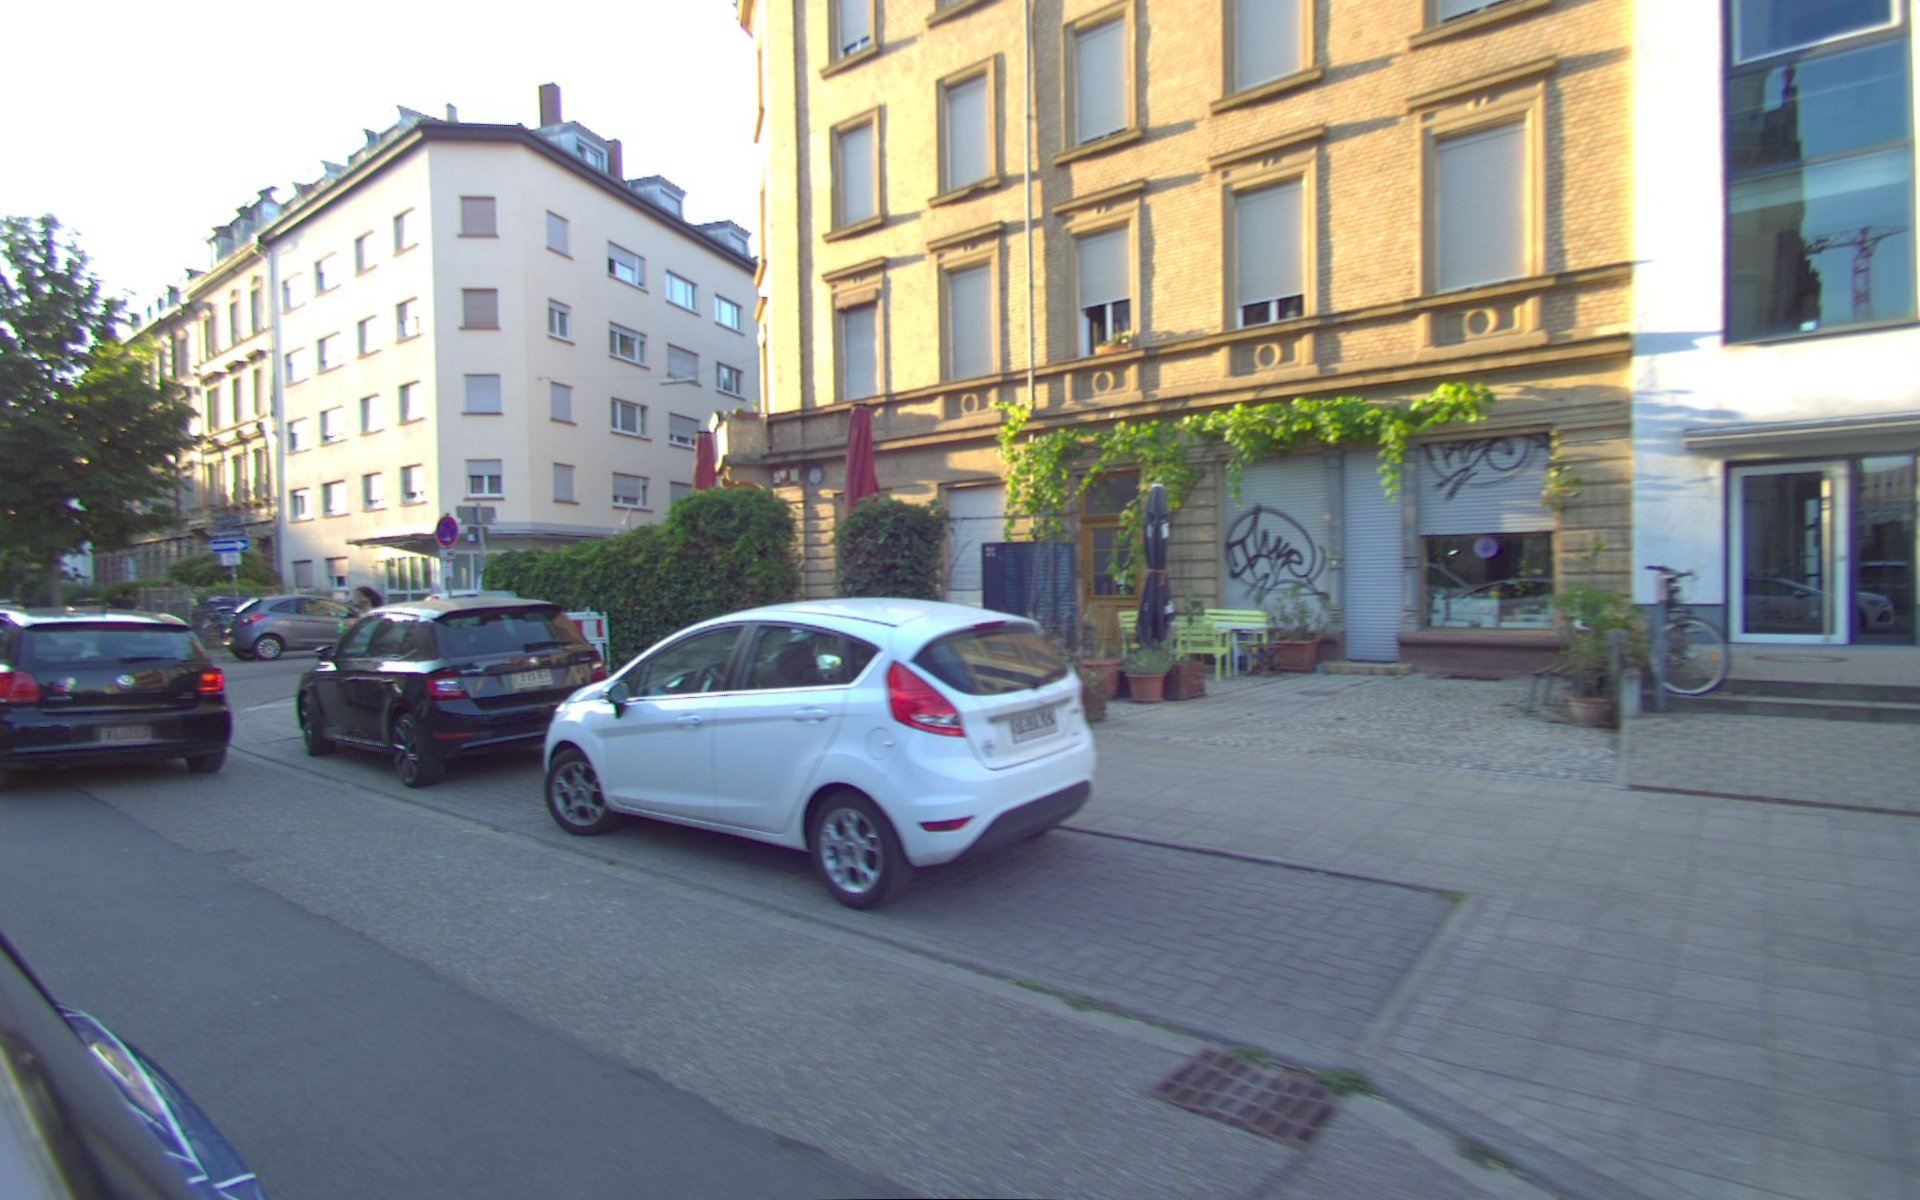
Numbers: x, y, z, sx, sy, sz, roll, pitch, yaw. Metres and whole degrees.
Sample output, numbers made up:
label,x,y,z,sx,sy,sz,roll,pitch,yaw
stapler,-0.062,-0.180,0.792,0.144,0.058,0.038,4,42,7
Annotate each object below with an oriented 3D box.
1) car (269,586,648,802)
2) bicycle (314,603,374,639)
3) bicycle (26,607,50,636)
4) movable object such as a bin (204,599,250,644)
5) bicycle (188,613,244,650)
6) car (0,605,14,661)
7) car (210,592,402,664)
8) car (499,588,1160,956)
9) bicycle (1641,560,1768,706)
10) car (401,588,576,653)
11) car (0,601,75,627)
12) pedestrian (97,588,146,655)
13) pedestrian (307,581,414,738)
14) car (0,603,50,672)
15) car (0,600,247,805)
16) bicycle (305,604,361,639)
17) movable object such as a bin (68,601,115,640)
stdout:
label,x,y,z,sx,sy,sz,roll,pitch,yaw
car,-4.718,0.686,9.308,3.841,1.545,1.687,0,2,40
bicycle,-20.817,0.687,34.221,0.499,1.100,1.618,-1,2,33
bicycle,-37.227,0.846,40.850,1.632,1.117,0.451,0,2,40
movable object such as a bin,-23.631,0.680,32.621,1.398,1.362,0.857,0,2,41
bicycle,-22.105,0.911,30.057,1.927,1.033,0.681,-1,2,34
car,-26.401,0.870,26.700,4.141,1.431,1.724,0,2,42
car,-15.706,0.632,24.427,1.842,1.519,3.473,-2,1,38
car,-0.977,0.742,6.211,4.010,1.541,1.636,0,2,37
bicycle,6.813,0.240,9.223,0.811,1.150,1.896,0,3,40
car,-13.082,0.515,28.159,4.008,1.519,1.977,-4,3,-39
car,-52.969,0.810,57.070,1.624,1.351,4.358,0,2,40
pedestrian,-22.698,0.556,27.425,0.877,1.734,0.961,-3,2,-35
pedestrian,-6.625,0.624,11.188,0.711,1.630,0.776,0,2,41
car,-22.786,0.843,23.502,4.457,1.472,1.659,0,2,38
car,-8.028,0.751,9.004,3.935,1.466,1.636,0,-1,37
bicycle,-21.370,0.721,34.525,0.499,1.100,1.532,-1,2,33
movable object such as a bin,-32.447,0.764,37.799,1.548,1.397,0.937,-1,2,36
